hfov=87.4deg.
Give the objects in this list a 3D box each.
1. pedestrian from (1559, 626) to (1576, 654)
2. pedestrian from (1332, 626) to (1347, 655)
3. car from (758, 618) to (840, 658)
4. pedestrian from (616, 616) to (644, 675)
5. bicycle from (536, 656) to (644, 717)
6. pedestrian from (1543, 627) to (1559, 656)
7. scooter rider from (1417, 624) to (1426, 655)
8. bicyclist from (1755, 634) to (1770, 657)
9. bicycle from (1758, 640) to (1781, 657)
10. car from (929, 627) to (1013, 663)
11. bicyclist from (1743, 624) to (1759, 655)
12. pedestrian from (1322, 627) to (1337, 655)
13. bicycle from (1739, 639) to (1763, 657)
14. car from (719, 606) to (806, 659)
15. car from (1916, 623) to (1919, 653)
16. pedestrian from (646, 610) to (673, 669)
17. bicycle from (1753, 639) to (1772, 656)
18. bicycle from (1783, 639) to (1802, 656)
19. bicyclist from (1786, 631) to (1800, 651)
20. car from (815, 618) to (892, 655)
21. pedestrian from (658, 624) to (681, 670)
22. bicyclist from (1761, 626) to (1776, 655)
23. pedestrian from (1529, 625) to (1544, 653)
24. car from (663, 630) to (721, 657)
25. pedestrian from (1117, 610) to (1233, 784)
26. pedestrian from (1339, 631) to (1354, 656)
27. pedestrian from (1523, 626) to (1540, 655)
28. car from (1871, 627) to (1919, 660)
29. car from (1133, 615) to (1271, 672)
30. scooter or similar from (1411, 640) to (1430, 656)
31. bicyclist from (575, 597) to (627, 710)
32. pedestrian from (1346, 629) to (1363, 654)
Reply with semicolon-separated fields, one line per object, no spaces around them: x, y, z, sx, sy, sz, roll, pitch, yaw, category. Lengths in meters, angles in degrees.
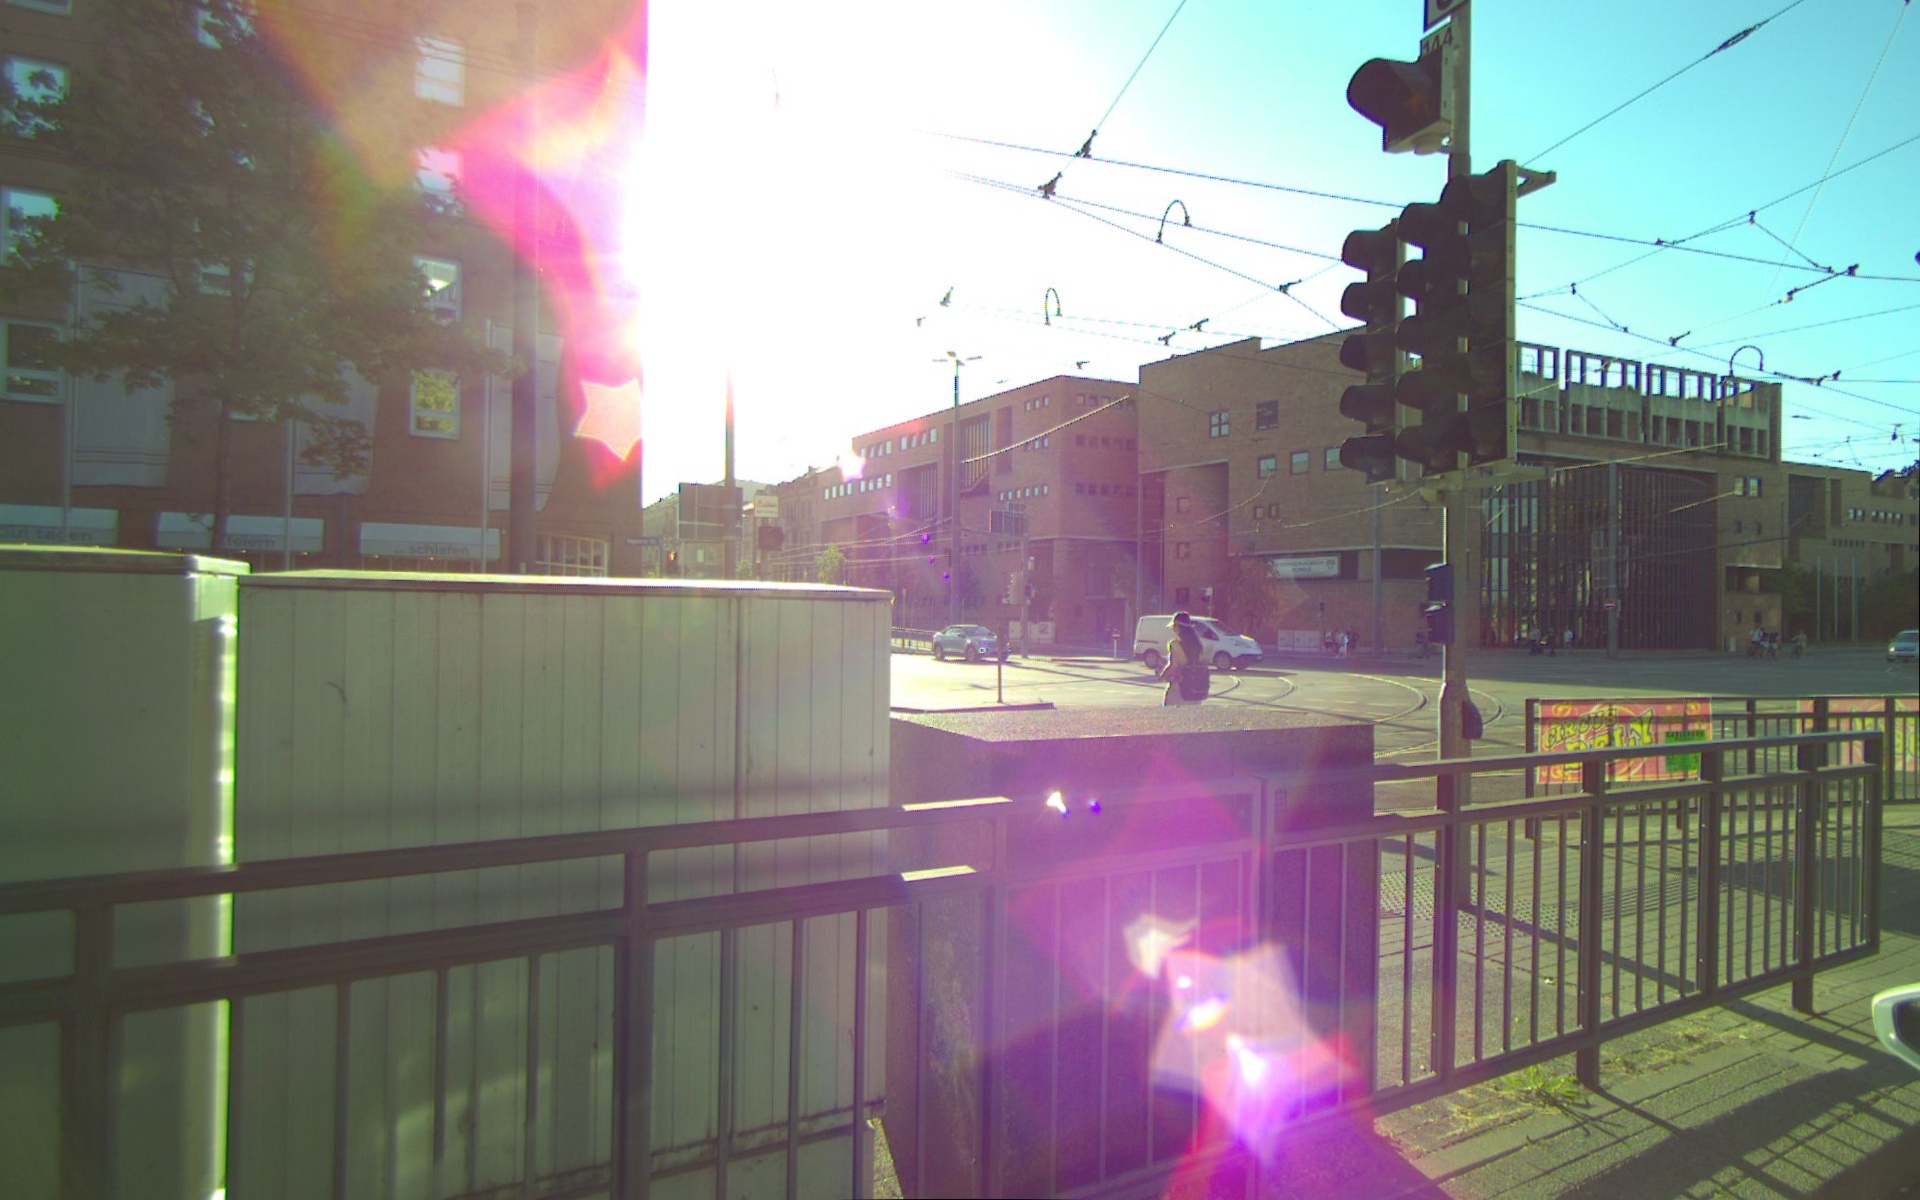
35.896;2.362;59.349;0.610;1.647;0.608;1;-1;-28;pedestrian
21.787;2.331;57.605;0.543;1.670;0.596;1;-1;-30;pedestrian
-8.347;1.910;51.699;1.982;1.928;5.156;1;-2;-38;car
-10.520;1.439;32.003;0.713;1.837;0.904;1;-1;-28;pedestrian
-6.470;1.497;17.582;1.729;1.017;0.448;1;-1;-25;bicycle
34.455;2.403;58.548;0.544;1.706;0.588;1;-1;-27;pedestrian
25.420;2.163;55.368;0.429;1.669;0.229;0;-1;15;scooter rider
46.704;2.620;58.472;0.574;1.321;0.503;1;-1;-30;bicyclist
45.050;2.695;55.924;1.557;0.976;0.470;1;-1;-30;bicycle
0.433;1.900;43.238;1.616;1.445;4.065;1;-2;-33;car
44.384;2.214;56.355;0.574;1.754;0.534;1;-1;-30;bicyclist
21.541;2.378;58.497;0.582;1.635;0.593;1;-1;-31;pedestrian
44.415;2.709;56.382;1.568;0.976;0.539;1;-1;-30;bicycle
-9.476;1.520;47.972;1.982;2.419;5.156;1;-2;-38;car
55.248;2.112;55.893;3.954;1.661;1.983;1;-2;-31;car
-9.686;1.253;32.363;0.647;1.864;0.835;1;-1;-28;pedestrian
46.729;2.752;58.491;1.304;0.976;0.465;1;-1;-30;bicycle
49.298;2.787;59.475;1.332;0.976;0.449;1;-1;-30;bicycle
49.318;2.415;59.467;0.574;1.194;0.503;1;-1;-30;bicyclist
-5.714;1.915;53.398;1.946;1.873;5.283;1;-2;-32;car
-10.563;1.706;36.530;0.658;1.669;0.638;1;-1;-34;pedestrian
44.960;2.259;55.878;0.574;1.624;0.456;1;-1;-30;bicyclist
35.006;2.371;60.966;0.542;1.706;0.570;1;-1;-27;pedestrian
-14.361;2.285;53.771;1.729;1.372;3.960;1;-2;-36;car
2.186;0.950;10.254;0.709;1.669;0.953;1;-1;-30;pedestrian
22.553;2.525;58.658;0.608;1.473;0.564;1;-1;-33;pedestrian
33.746;2.373;59.304;0.615;1.706;0.645;1;-1;-31;pedestrian
48.979;2.225;51.779;3.954;1.661;1.983;1;-2;-31;car
8.499;1.500;35.488;4.455;1.891;1.754;-1;-2;39;car
25.374;2.640;55.372;0.931;0.911;0.176;0;-1;14;scooter or similar
-6.294;0.934;17.608;0.802;1.929;0.569;1;-1;-25;bicyclist
22.251;2.340;56.700;0.673;1.357;0.599;1;-1;-31;pedestrian
